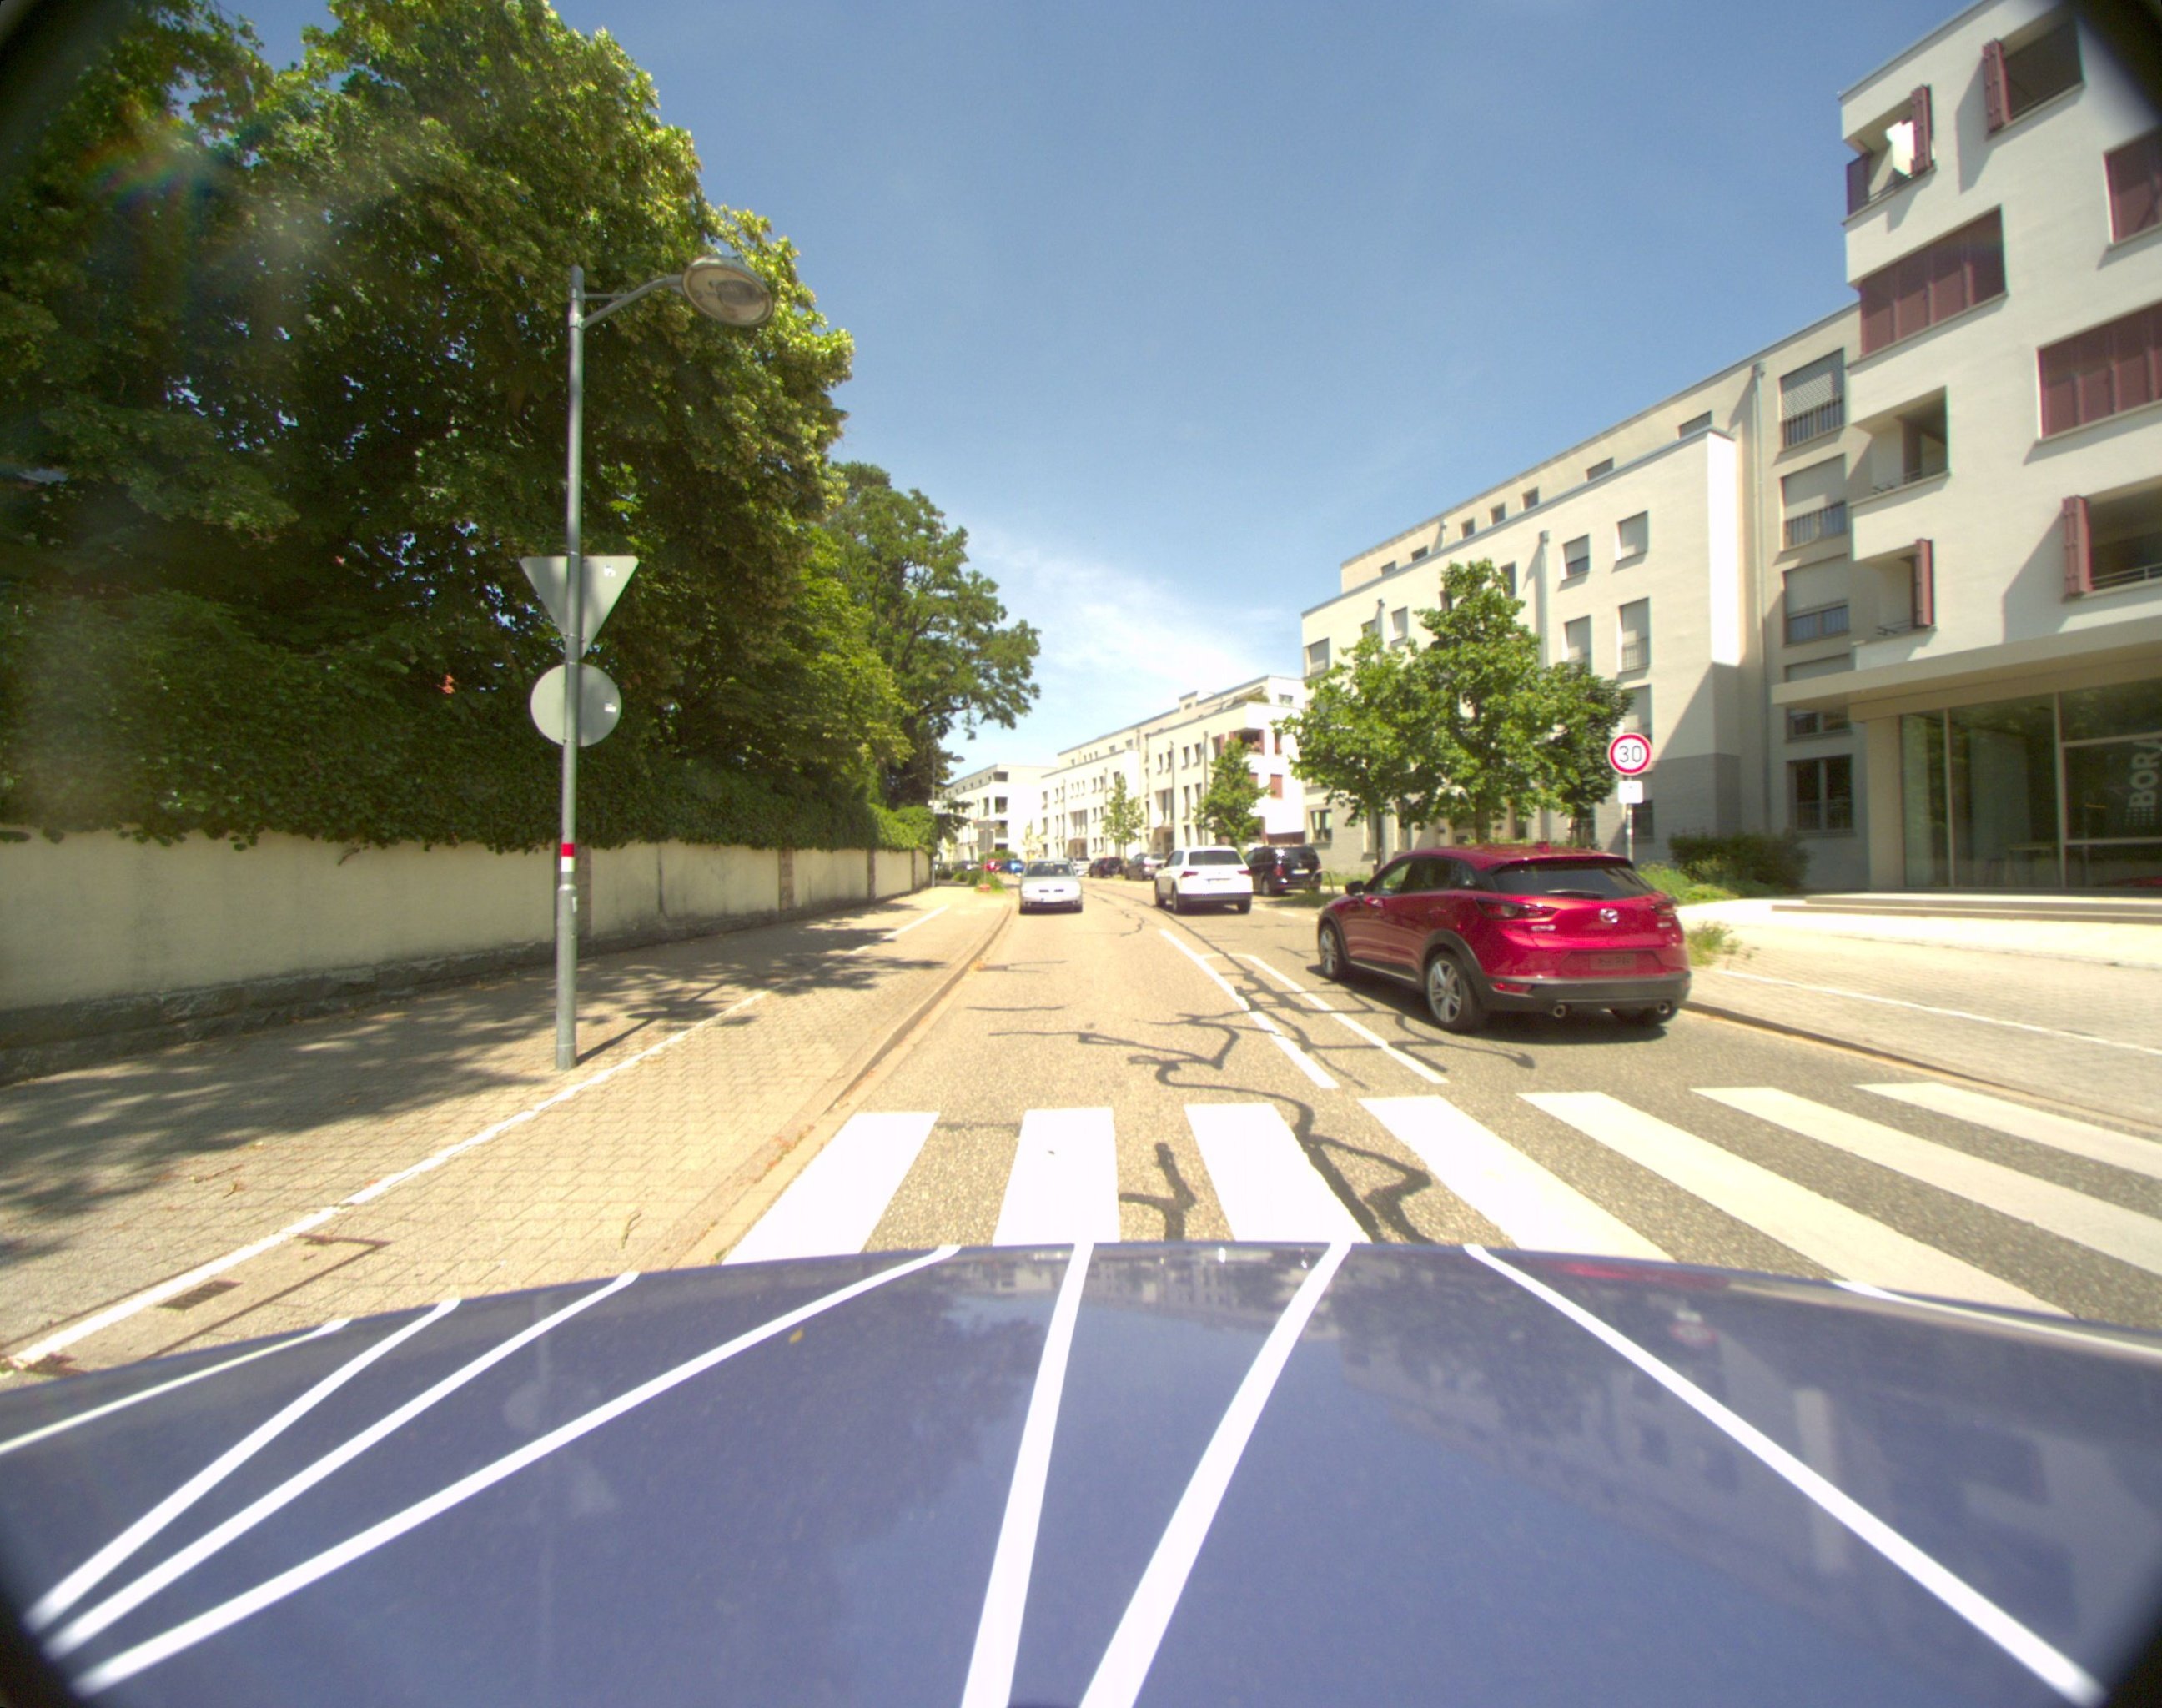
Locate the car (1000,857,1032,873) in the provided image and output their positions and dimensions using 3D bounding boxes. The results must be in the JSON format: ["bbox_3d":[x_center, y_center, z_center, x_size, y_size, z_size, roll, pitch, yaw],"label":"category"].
[{"bbox_3d":[-6.263,1.013,72.729,1.710,1.405,3.713,-2,0,-29],"label":"car"}]

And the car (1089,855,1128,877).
[{"bbox_3d":[1.830,0.770,51.534,1.708,1.405,3.623,-1,0,-14],"label":"car"}]

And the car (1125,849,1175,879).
[{"bbox_3d":[3.887,0.559,43.434,1.792,1.580,3.623,-1,0,-13],"label":"car"}]

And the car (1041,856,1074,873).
[{"bbox_3d":[-2.019,0.857,63.851,1.709,1.405,3.715,-1,0,-20],"label":"car"}]

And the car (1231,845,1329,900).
[{"bbox_3d":[6.471,0.546,25.134,1.699,1.628,4.018,-1,0,-8],"label":"car"}]

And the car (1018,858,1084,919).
[{"bbox_3d":[-0.838,0.867,20.898,1.607,1.443,3.999,-1,0,-3],"label":"car"}]

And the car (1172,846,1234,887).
[{"bbox_3d":[5.352,0.508,33.820,1.699,1.690,3.625,-1,0,-8],"label":"car"}]

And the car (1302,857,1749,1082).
[{"bbox_3d":[3.669,0.801,7.245,1.755,1.496,3.991,-1,0,-3],"label":"car"}]

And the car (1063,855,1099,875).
[{"bbox_3d":[-0.046,0.792,57.429,1.708,1.405,3.716,-1,0,-17],"label":"car"}]

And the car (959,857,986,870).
[{"bbox_3d":[-11.970,1.055,83.392,1.710,1.405,3.713,-2,0,-29],"label":"car"}]

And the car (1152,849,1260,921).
[{"bbox_3d":[3.030,0.689,19.245,1.816,1.599,4.118,-1,0,-3],"label":"car"}]

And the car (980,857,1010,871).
[{"bbox_3d":[-8.814,0.999,77.724,1.710,1.405,3.713,-2,0,-29],"label":"car"}]
